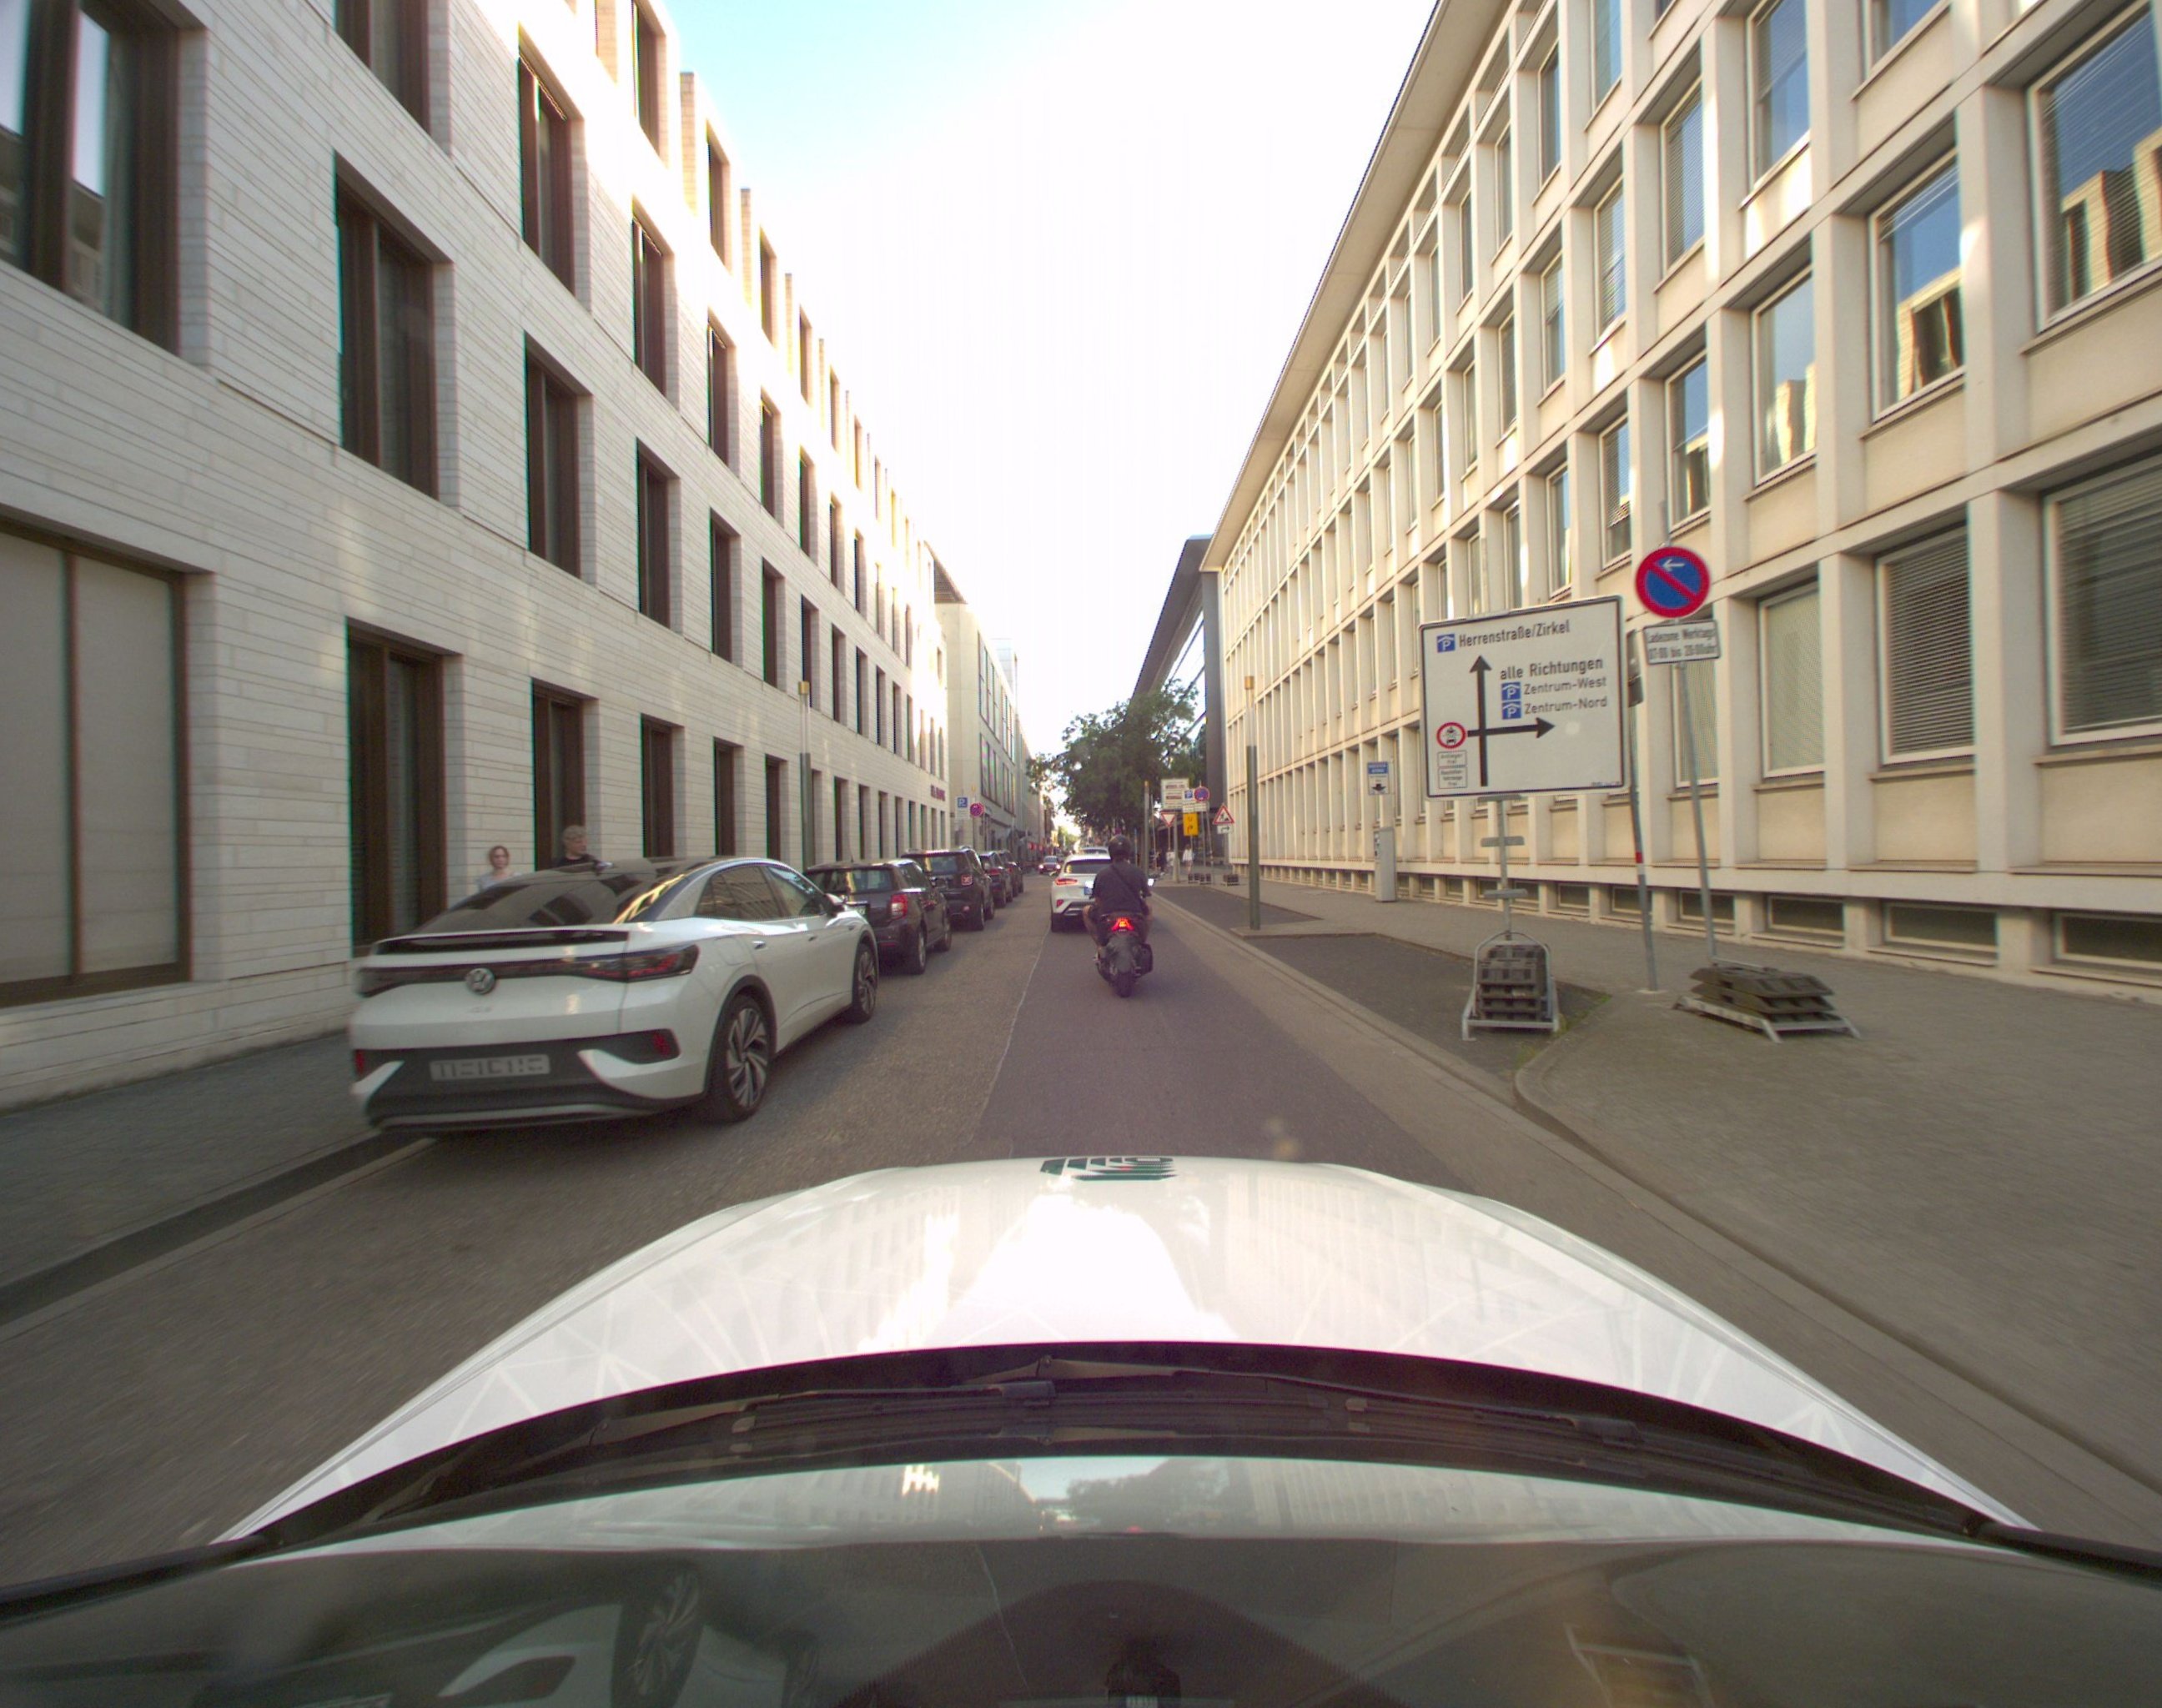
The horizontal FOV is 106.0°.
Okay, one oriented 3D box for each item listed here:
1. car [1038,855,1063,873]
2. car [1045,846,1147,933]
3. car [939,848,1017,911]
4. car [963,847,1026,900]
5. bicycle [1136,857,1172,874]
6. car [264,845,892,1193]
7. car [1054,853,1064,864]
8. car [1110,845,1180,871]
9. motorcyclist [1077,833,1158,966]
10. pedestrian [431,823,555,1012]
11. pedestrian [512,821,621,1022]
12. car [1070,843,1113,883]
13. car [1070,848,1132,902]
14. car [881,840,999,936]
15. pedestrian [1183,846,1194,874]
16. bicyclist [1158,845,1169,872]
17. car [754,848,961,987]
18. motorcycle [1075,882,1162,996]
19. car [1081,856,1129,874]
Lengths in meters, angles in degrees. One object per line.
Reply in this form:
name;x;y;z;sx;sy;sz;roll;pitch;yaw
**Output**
car;-2.579;0.898;69.690;1.815;1.465;4.265;-1;-2;2
car;0.233;0.633;16.954;1.817;1.541;4.261;-1;0;-1
car;-2.939;0.658;23.991;1.735;1.594;4.152;-3;0;-1
car;-3.058;0.627;29.589;1.817;1.677;4.261;-3;0;-1
bicycle;4.456;0.725;49.717;2.088;0.995;0.520;-1;-1;11
car;-2.895;0.761;6.082;1.816;1.541;4.446;-3;0;0
car;-4.800;0.952;174.750;1.989;2.329;5.016;0;0;-3
car;4.786;0.323;61.408;4.993;1.451;1.998;-5;-1;-3
motorcyclist;0.397;0.492;9.046;0.864;1.427;0.455;-1;-1;0
pedestrian;-5.869;0.609;8.172;0.641;1.790;0.816;-1;-1;0
pedestrian;-4.765;0.607;7.573;0.639;1.790;0.575;-1;-1;0
car;0.422;0.378;38.525;1.817;1.645;4.492;-3;0;-1
car;0.579;0.614;27.116;1.817;1.541;4.362;-3;0;-1
car;-2.875;0.631;17.465;1.817;1.714;4.016;-3;0;-1
pedestrian;6.056;0.341;45.808;0.557;1.584;0.598;-1;-1;1
bicyclist;5.017;0.252;49.610;0.625;1.625;0.499;-1;-1;13
car;-2.992;0.743;11.881;1.817;1.541;4.261;-3;0;-1
motorcycle;0.389;0.890;9.177;0.869;1.109;1.840;-1;-1;1
car;2.626;1.186;89.170;4.993;1.499;1.998;-5;-1;-3
